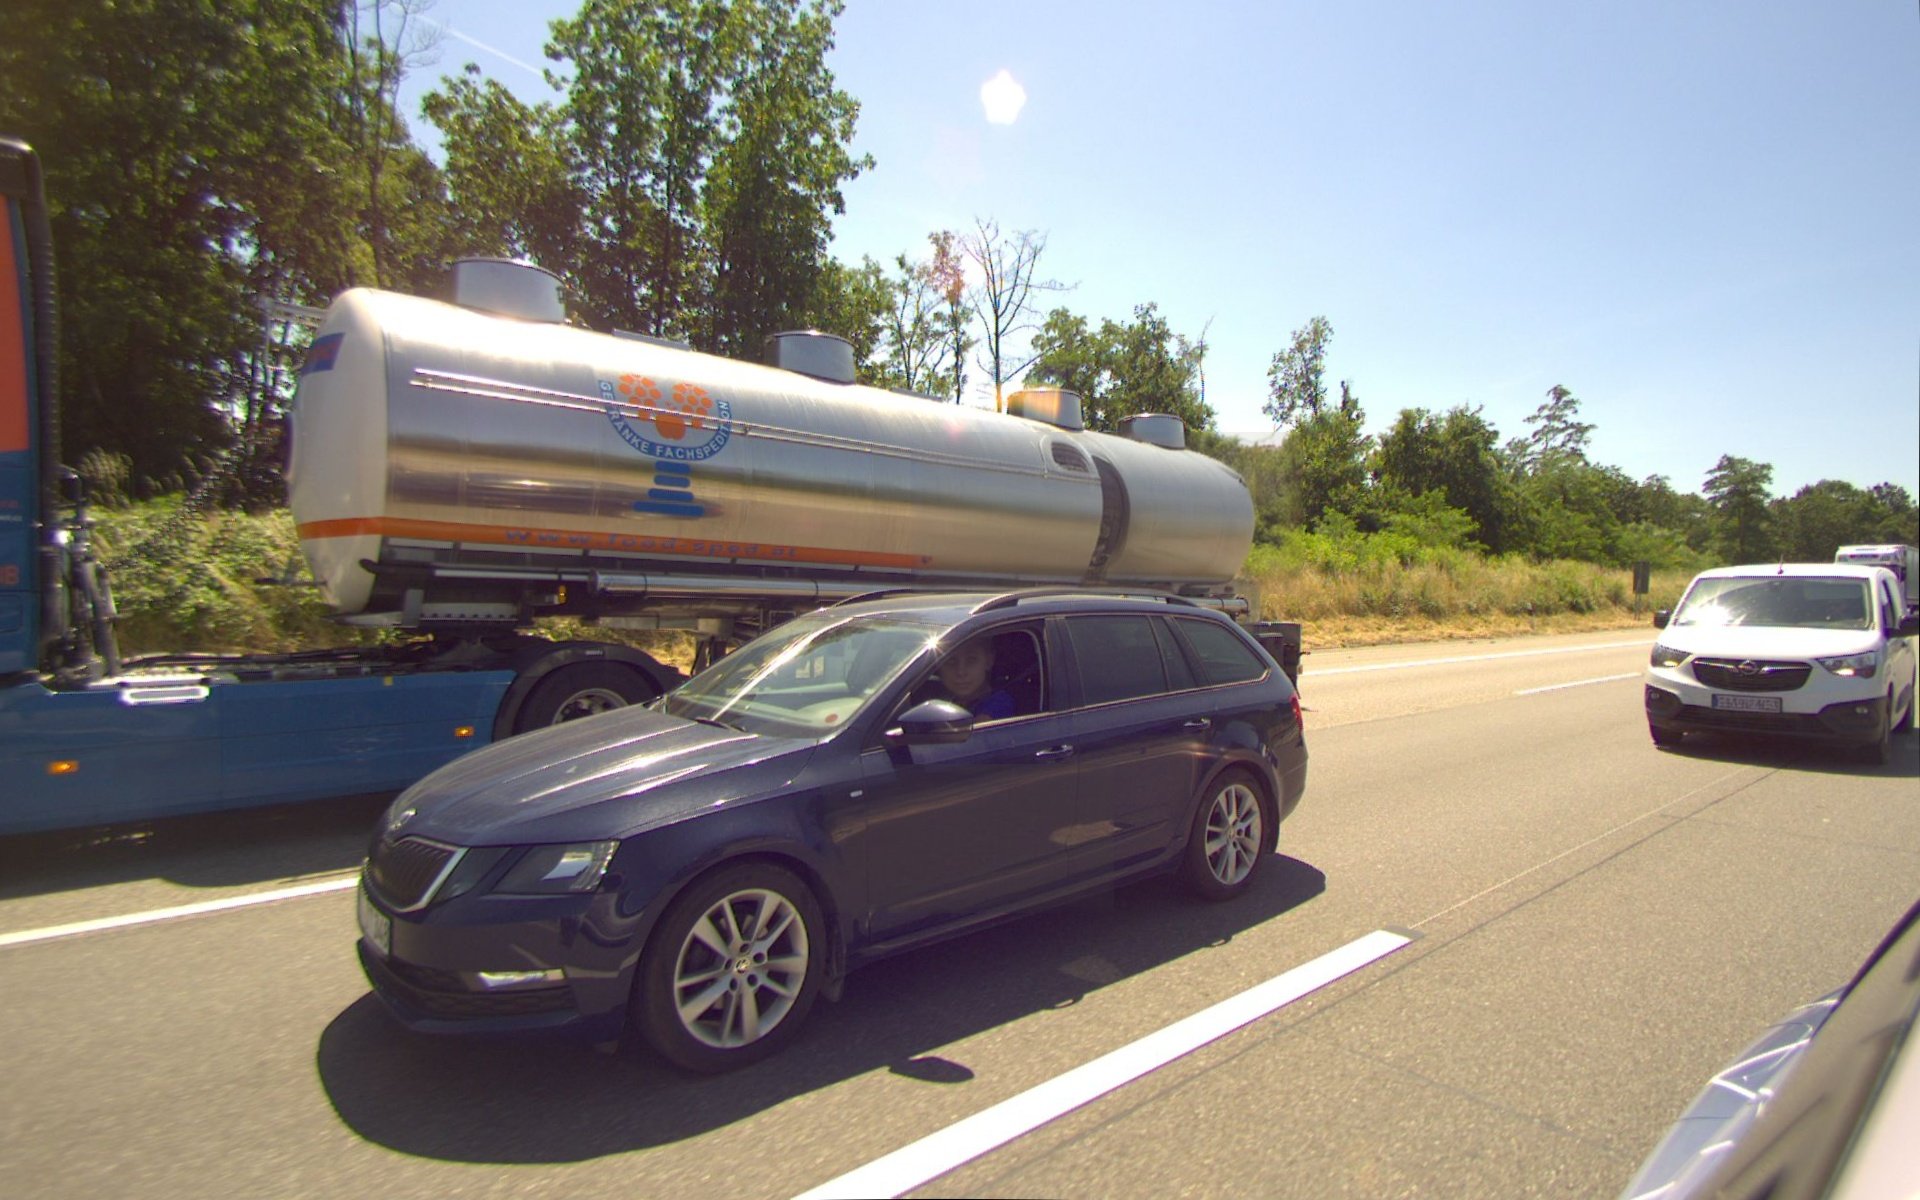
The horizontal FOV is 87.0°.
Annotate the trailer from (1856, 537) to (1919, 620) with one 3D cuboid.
[{"bbox_3d":[51.132,-1.086,54.467,13.835,4.053,2.601,0,0,-41],"label":"trailer"}]

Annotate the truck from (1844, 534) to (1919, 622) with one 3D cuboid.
[{"bbox_3d":[45.604,-1.046,49.609,6.066,4.053,2.601,0,0,-41],"label":"truck"}]

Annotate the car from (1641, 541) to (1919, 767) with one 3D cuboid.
[{"bbox_3d":[8.870,0.421,10.612,4.858,1.840,1.867,0,0,-44],"label":"car"}]

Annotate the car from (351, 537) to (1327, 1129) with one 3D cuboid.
[{"bbox_3d":[-0.214,0.575,4.649,4.198,1.502,1.804,0,0,-42],"label":"car"}]

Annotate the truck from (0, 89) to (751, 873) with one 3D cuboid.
[{"bbox_3d":[-4.634,-0.588,6.555,5.992,3.781,2.533,0,0,-41],"label":"truck"}]

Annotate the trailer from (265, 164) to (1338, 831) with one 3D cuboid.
[{"bbox_3d":[-0.179,-0.621,10.435,11.346,3.781,2.533,0,0,-41],"label":"trailer"}]
